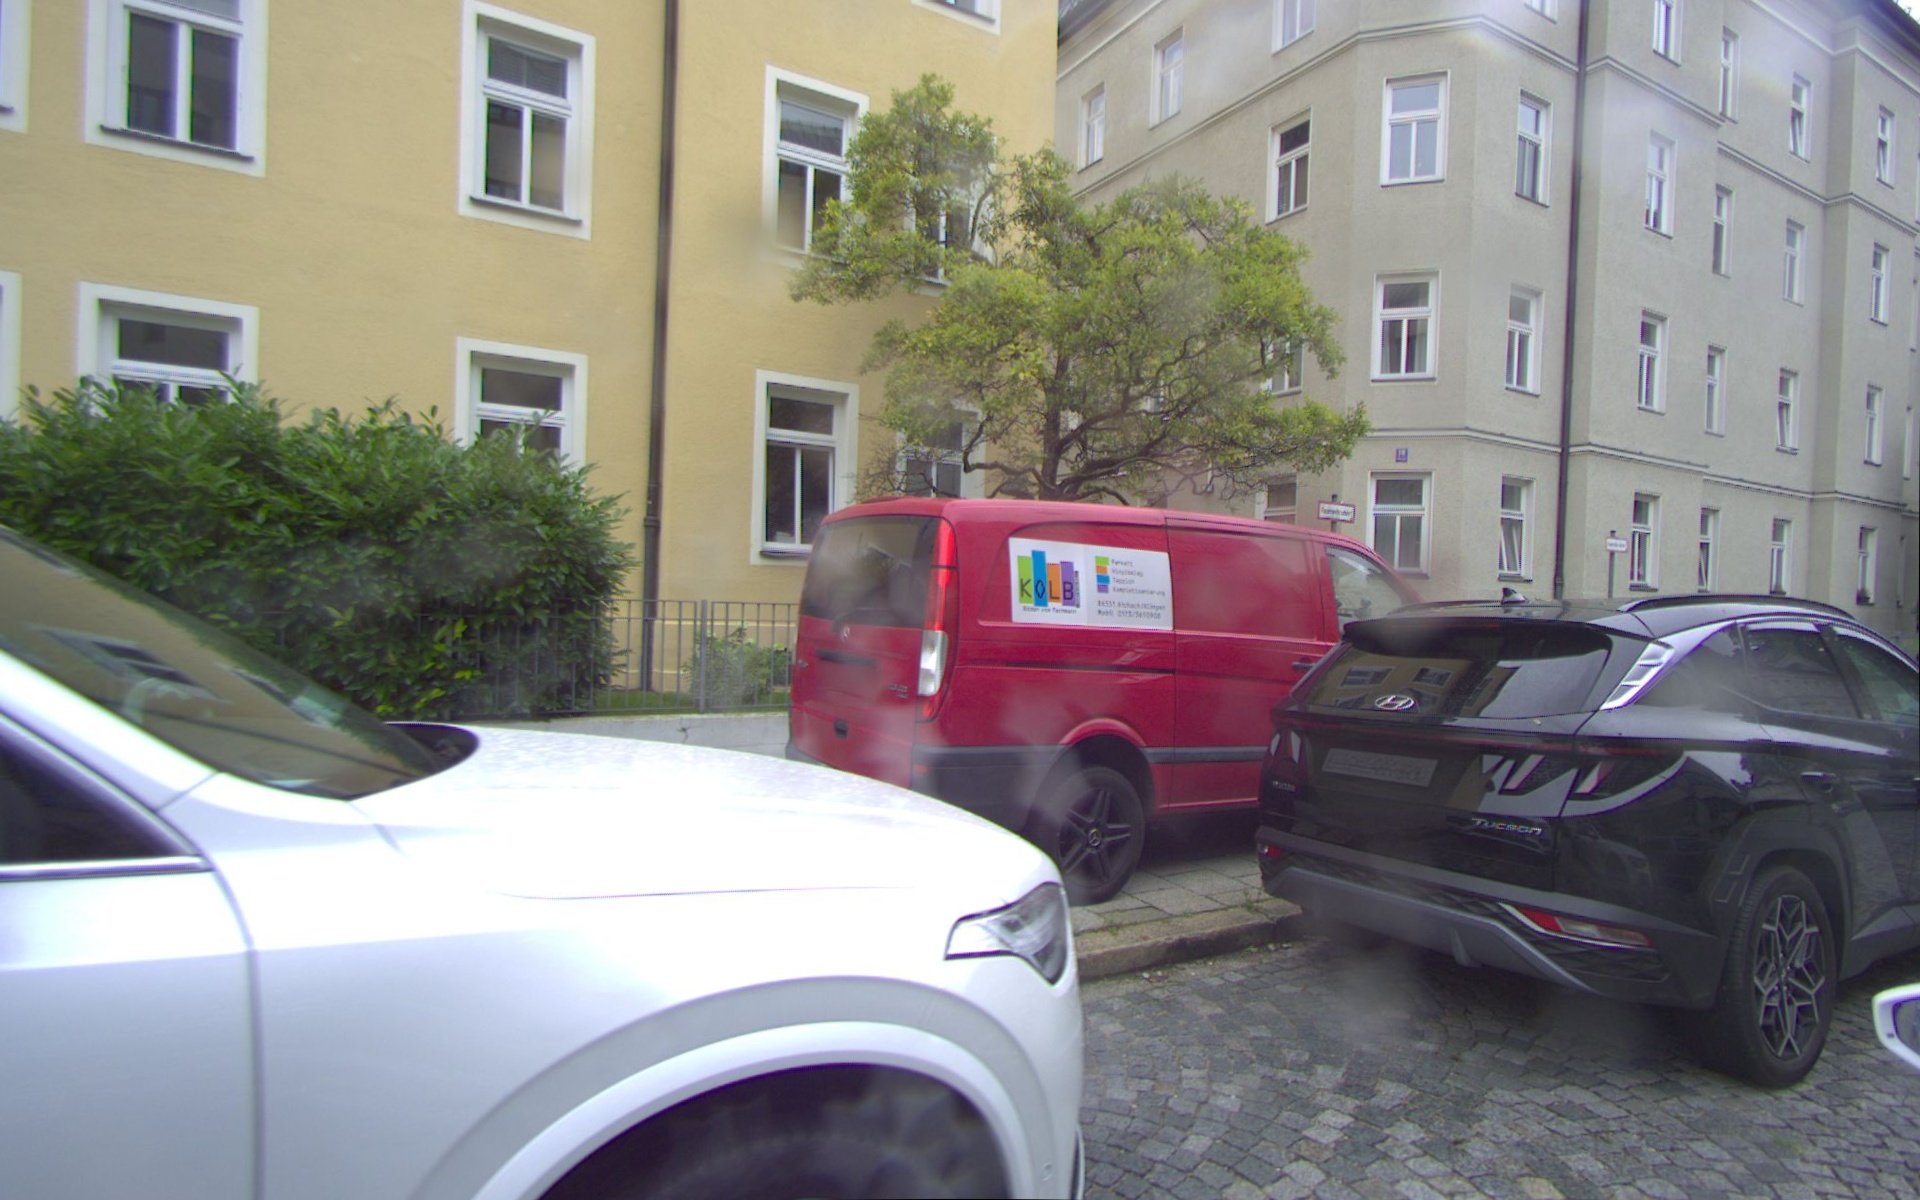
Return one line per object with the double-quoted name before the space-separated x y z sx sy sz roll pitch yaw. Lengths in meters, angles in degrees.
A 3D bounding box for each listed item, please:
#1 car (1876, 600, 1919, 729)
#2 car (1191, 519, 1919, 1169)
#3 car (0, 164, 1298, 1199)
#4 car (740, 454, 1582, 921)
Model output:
"car" 15.619 1.018 14.692 4.604 1.758 1.935 2 3 -31
"car" 3.522 0.772 4.748 4.698 1.757 1.909 2 -4 -30
"car" -2.082 0.474 1.490 5.112 1.833 1.997 2 -1 -29
"car" 1.490 0.399 6.422 5.270 1.957 1.983 2 2 -31
